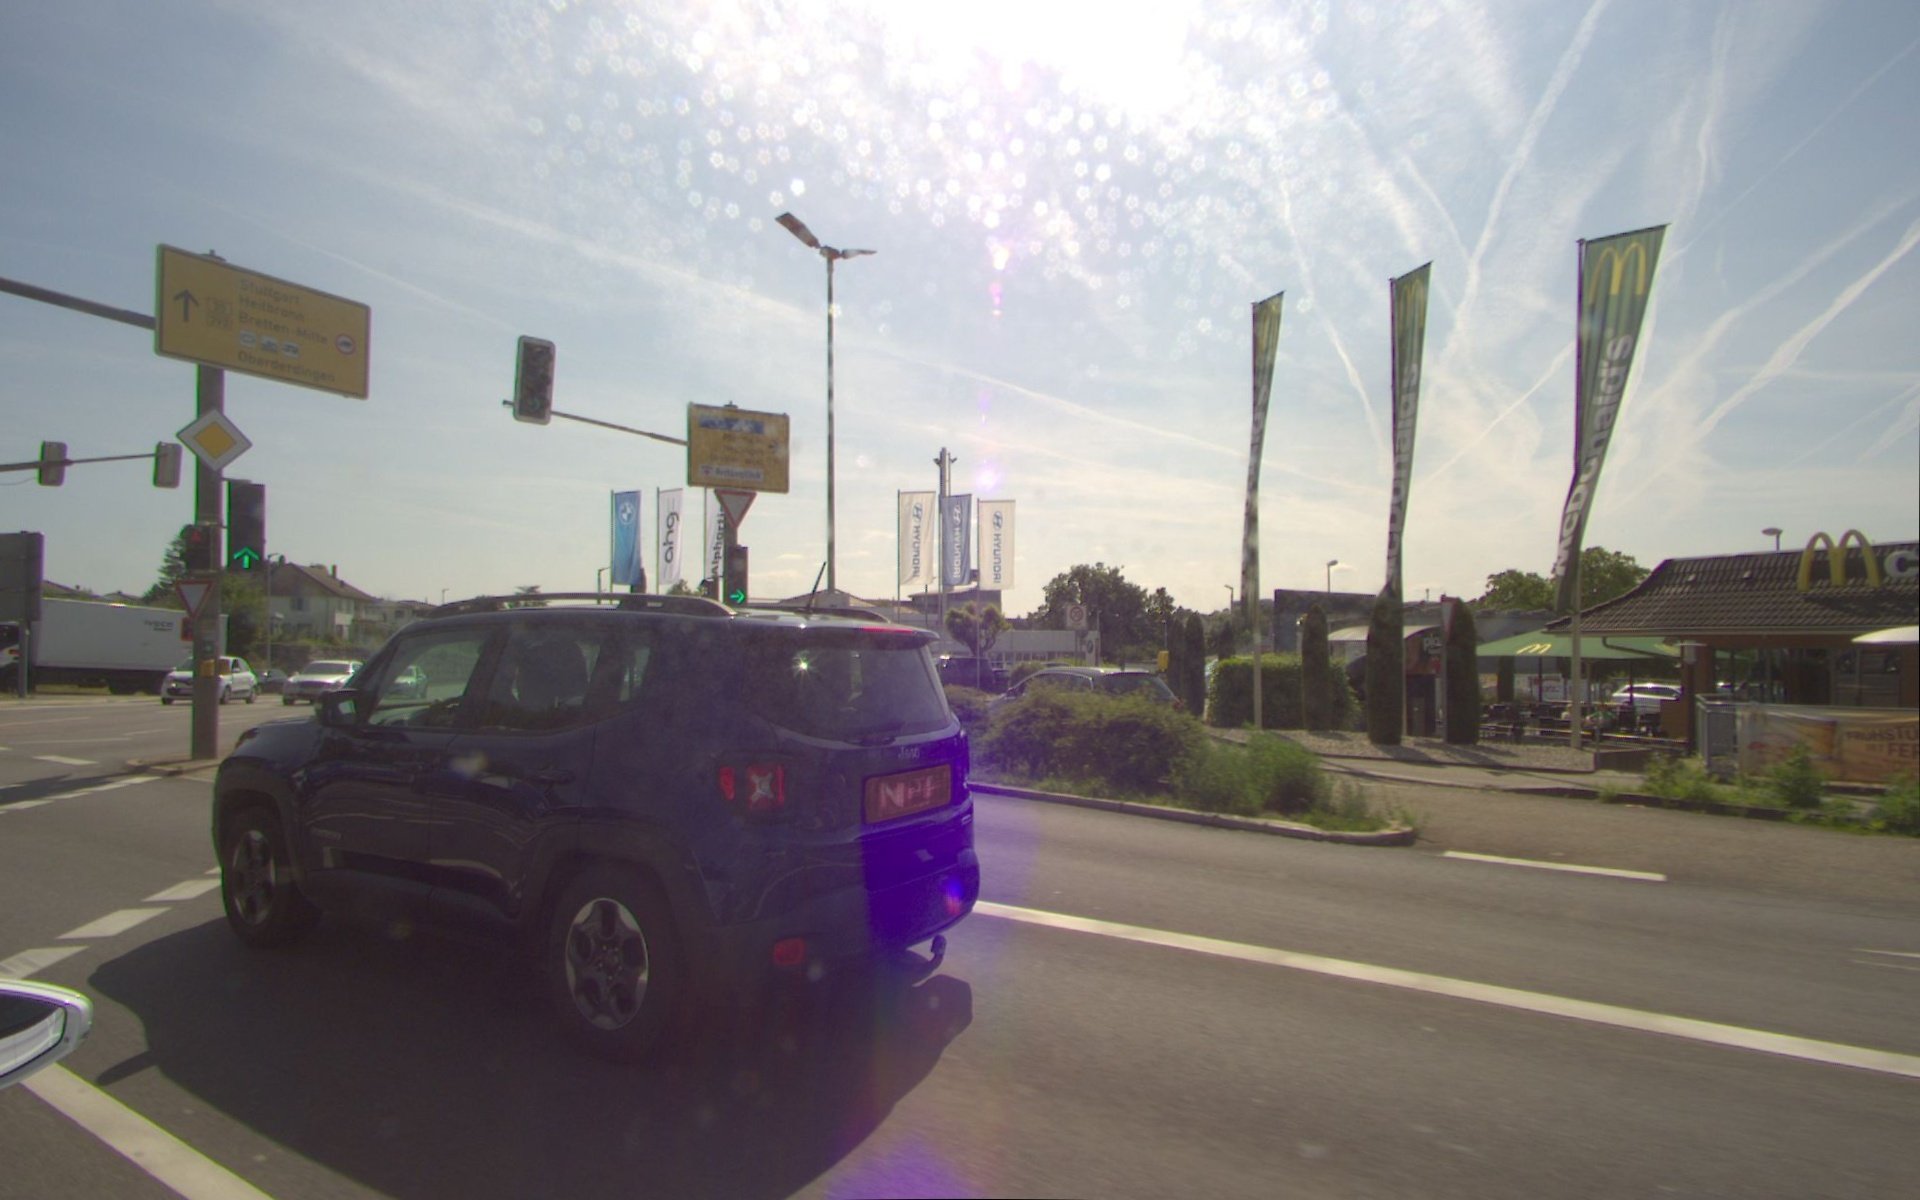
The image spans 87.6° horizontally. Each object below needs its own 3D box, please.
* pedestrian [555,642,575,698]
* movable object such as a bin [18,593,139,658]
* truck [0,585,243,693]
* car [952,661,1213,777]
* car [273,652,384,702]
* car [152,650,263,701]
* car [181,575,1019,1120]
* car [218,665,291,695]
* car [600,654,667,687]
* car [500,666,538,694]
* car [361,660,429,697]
[{"bbox_3d":[-14.660,2.598,37.200,0.653,2.039,0.876,1,-2,-22],"label":"pedestrian"},{"bbox_3d":[-47.613,1.385,54.350,2.853,3.249,6.686,0,-1,-22],"label":"movable object such as a bin"},{"bbox_3d":[-35.040,1.825,40.899,2.716,3.668,9.712,0,-6,14],"label":"truck"},{"bbox_3d":[1.924,1.884,17.028,1.975,1.539,4.419,1,-2,-35],"label":"car"},{"bbox_3d":[-21.295,2.620,33.990,1.966,1.523,4.995,2,-5,-18],"label":"car"},{"bbox_3d":[-23.971,2.440,32.061,1.682,1.522,3.751,2,-5,-19],"label":"car"},{"bbox_3d":[-1.860,0.809,4.869,3.941,1.676,1.768,-1,-1,31],"label":"car"},{"bbox_3d":[-36.658,4.134,52.127,1.966,1.478,4.315,0,-4,-19],"label":"car"},{"bbox_3d":[-21.633,4.651,66.430,4.018,2.061,2.061,0,-1,-25],"label":"car"},{"bbox_3d":[-27.024,4.898,61.329,1.969,1.594,3.988,3,-4,-25],"label":"car"},{"bbox_3d":[-25.054,3.492,44.564,1.886,1.515,3.995,2,-5,-19],"label":"car"}]
